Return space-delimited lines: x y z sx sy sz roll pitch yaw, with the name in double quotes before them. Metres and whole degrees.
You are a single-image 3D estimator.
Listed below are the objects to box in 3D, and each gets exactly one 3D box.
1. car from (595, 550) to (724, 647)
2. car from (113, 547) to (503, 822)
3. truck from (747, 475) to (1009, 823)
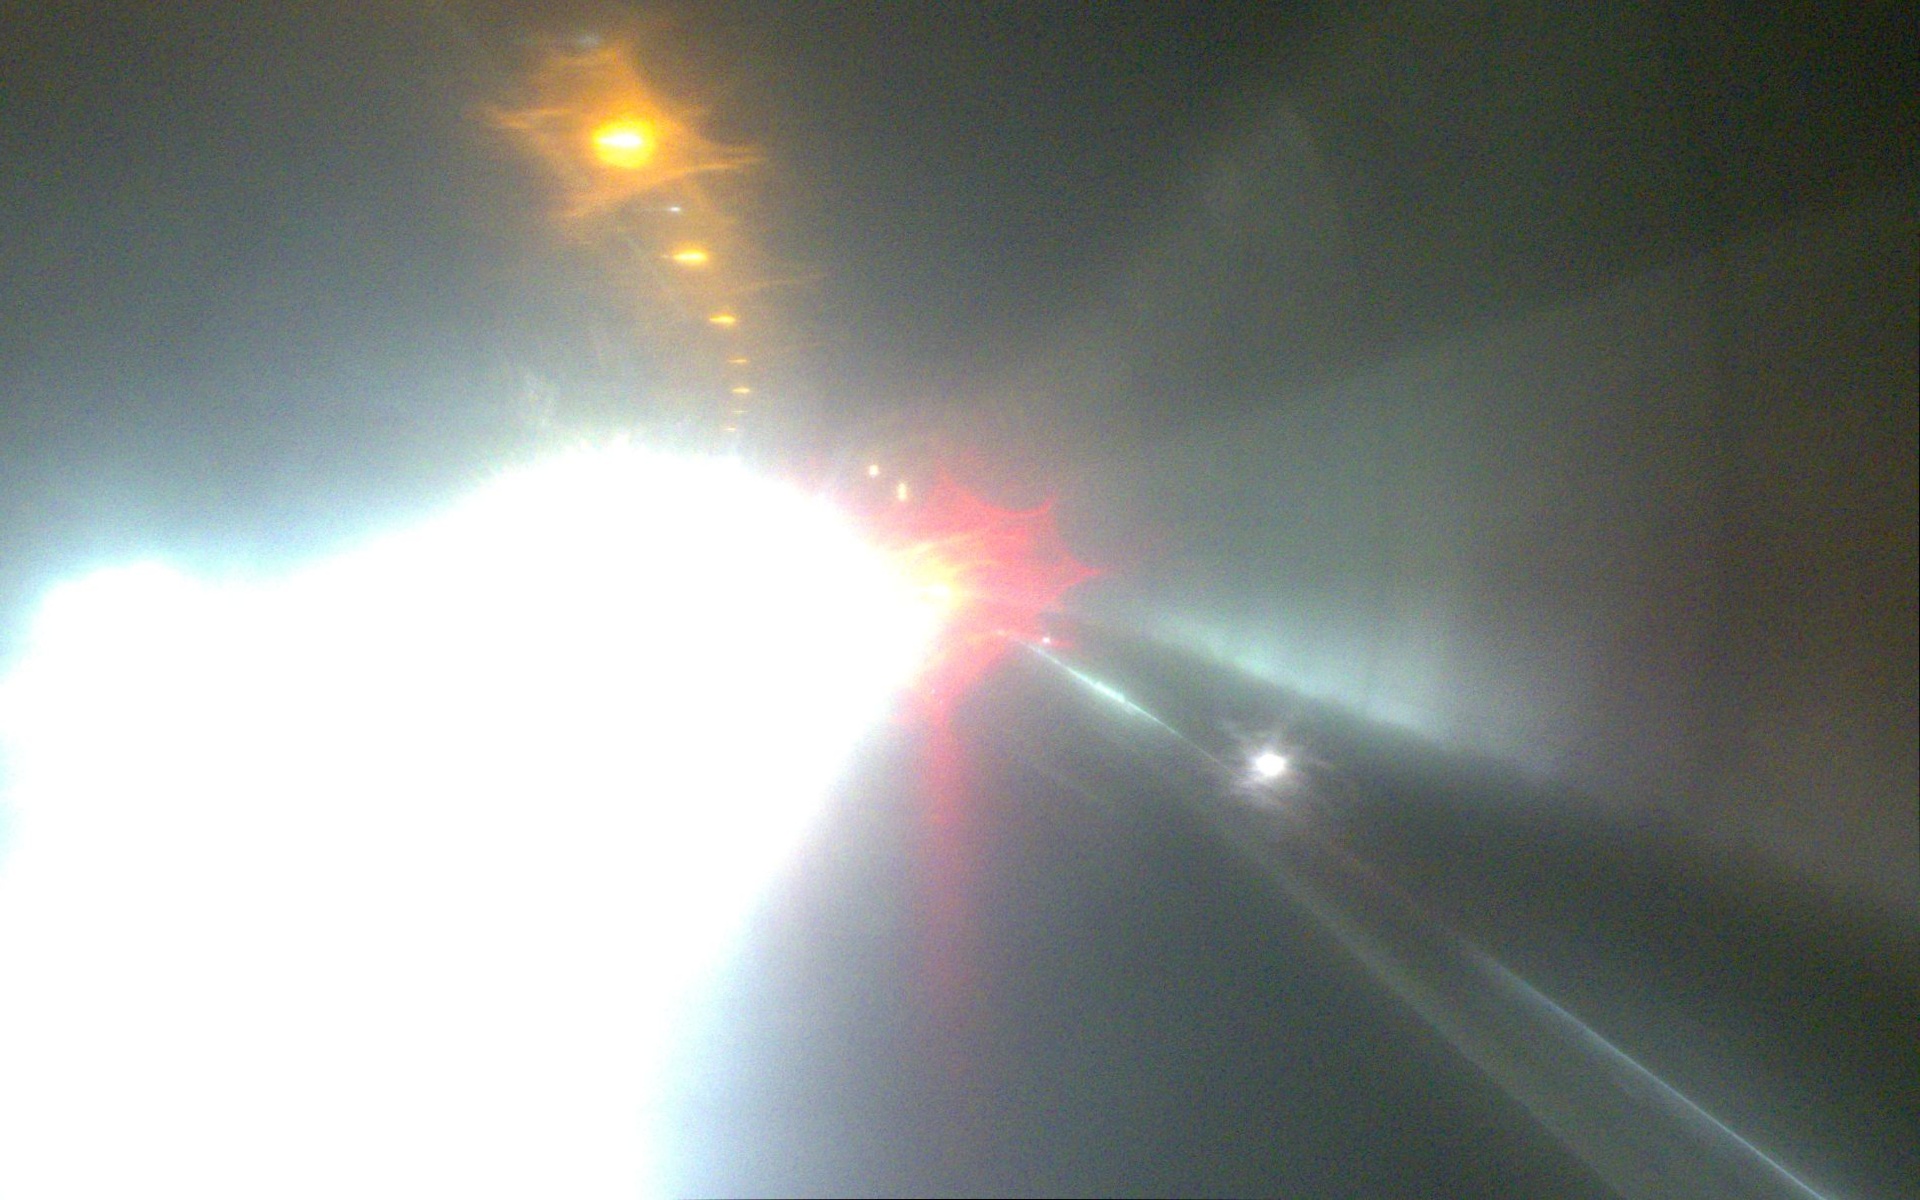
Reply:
"car" -4.948 -0.056 57.059 1.813 1.477 4.201 -1 1 -1
"car" -3.884 0.439 21.084 1.660 1.485 3.963 -1 1 -1
"truck" -0.746 0.364 33.338 2.262 3.000 7.415 0 1 -1
